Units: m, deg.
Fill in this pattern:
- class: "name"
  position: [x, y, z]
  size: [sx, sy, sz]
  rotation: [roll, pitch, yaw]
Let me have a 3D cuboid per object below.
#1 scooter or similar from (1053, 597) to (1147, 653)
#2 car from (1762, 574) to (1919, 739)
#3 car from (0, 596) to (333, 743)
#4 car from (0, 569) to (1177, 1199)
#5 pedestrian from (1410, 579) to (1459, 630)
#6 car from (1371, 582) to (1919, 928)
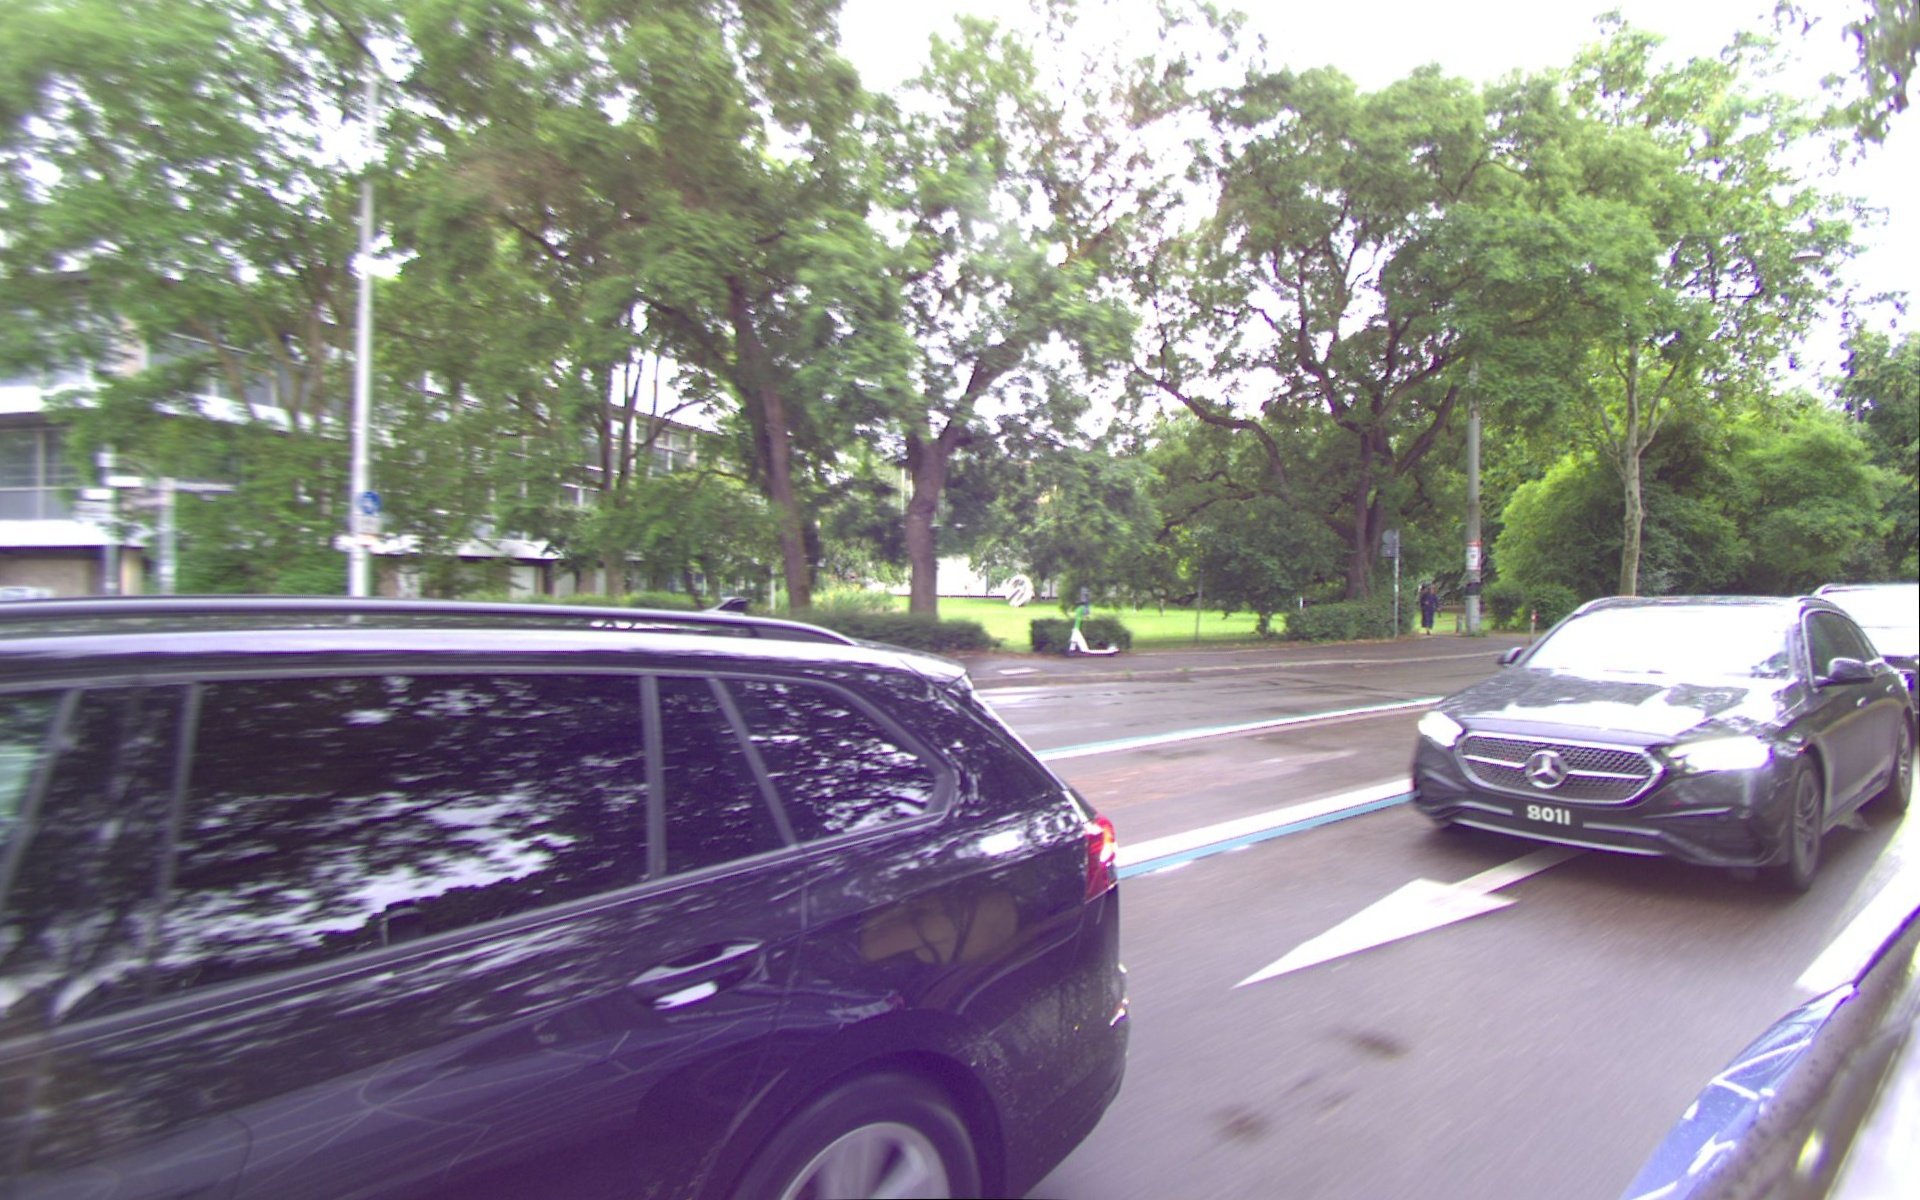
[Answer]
- class: "scooter or similar"
  position: [2.936, 0.516, 21.227]
  size: [1.851, 1.114, 0.559]
  rotation: [1, 3, -19]
- class: "car"
  position: [10.913, 0.533, 11.653]
  size: [4.497, 1.628, 1.832]
  rotation: [-1, 0, -41]
- class: "car"
  position: [-9.652, 0.697, 11.199]
  size: [4.311, 1.468, 1.872]
  rotation: [0, 0, -19]
- class: "car"
  position: [-1.718, 0.701, 1.454]
  size: [4.434, 1.484, 1.673]
  rotation: [0, 0, -41]
- class: "pedestrian"
  position: [15.447, 0.131, 32.980]
  size: [1.038, 1.626, 1.071]
  rotation: [-1, 0, 1]
- class: "car"
  position: [4.796, 0.642, 6.579]
  size: [4.842, 1.464, 1.883]
  rotation: [-1, 0, -40]
